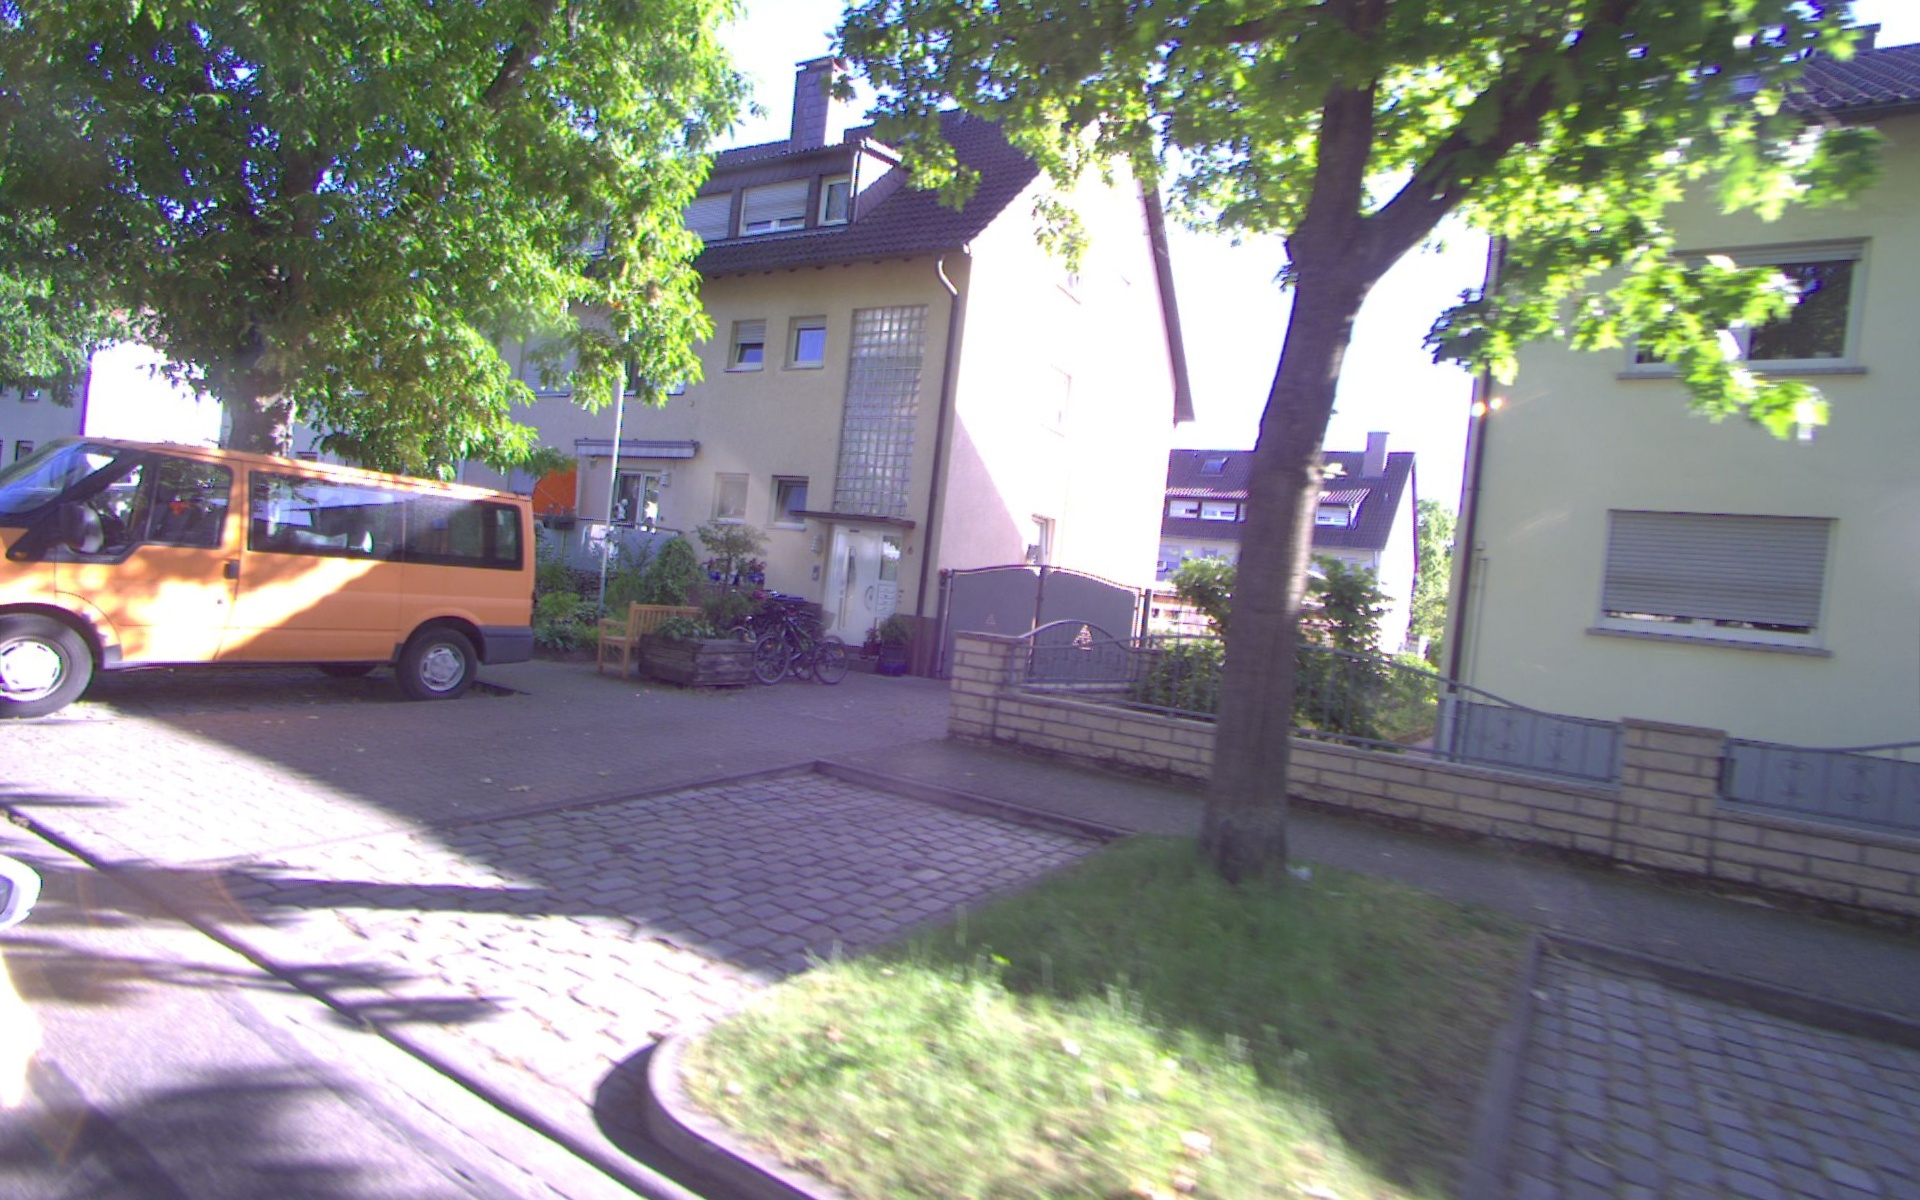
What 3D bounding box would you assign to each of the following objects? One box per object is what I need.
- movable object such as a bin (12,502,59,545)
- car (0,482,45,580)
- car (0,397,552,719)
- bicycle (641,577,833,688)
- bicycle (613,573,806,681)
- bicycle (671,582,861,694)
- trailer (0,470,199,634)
[{"bbox_3d":[-26.885,-2.229,29.265,0.891,1.112,0.704,6,0,30],"label":"movable object such as a bin"},{"bbox_3d":[-17.986,-1.369,16.494,1.726,1.643,3.996,6,-1,26],"label":"car"},{"bbox_3d":[-6.288,-0.268,8.544,2.051,2.109,4.823,7,1,31],"label":"car"},{"bbox_3d":[-2.776,0.428,12.977,0.460,1.253,2.859,6,1,32],"label":"bicycle"},{"bbox_3d":[-3.190,0.383,13.233,0.460,1.253,2.860,7,1,32],"label":"bicycle"},{"bbox_3d":[-2.357,0.494,12.750,0.460,1.253,2.860,6,1,32],"label":"bicycle"},{"bbox_3d":[-10.401,-0.548,10.930,1.586,1.686,2.950,6,1,26],"label":"trailer"}]
